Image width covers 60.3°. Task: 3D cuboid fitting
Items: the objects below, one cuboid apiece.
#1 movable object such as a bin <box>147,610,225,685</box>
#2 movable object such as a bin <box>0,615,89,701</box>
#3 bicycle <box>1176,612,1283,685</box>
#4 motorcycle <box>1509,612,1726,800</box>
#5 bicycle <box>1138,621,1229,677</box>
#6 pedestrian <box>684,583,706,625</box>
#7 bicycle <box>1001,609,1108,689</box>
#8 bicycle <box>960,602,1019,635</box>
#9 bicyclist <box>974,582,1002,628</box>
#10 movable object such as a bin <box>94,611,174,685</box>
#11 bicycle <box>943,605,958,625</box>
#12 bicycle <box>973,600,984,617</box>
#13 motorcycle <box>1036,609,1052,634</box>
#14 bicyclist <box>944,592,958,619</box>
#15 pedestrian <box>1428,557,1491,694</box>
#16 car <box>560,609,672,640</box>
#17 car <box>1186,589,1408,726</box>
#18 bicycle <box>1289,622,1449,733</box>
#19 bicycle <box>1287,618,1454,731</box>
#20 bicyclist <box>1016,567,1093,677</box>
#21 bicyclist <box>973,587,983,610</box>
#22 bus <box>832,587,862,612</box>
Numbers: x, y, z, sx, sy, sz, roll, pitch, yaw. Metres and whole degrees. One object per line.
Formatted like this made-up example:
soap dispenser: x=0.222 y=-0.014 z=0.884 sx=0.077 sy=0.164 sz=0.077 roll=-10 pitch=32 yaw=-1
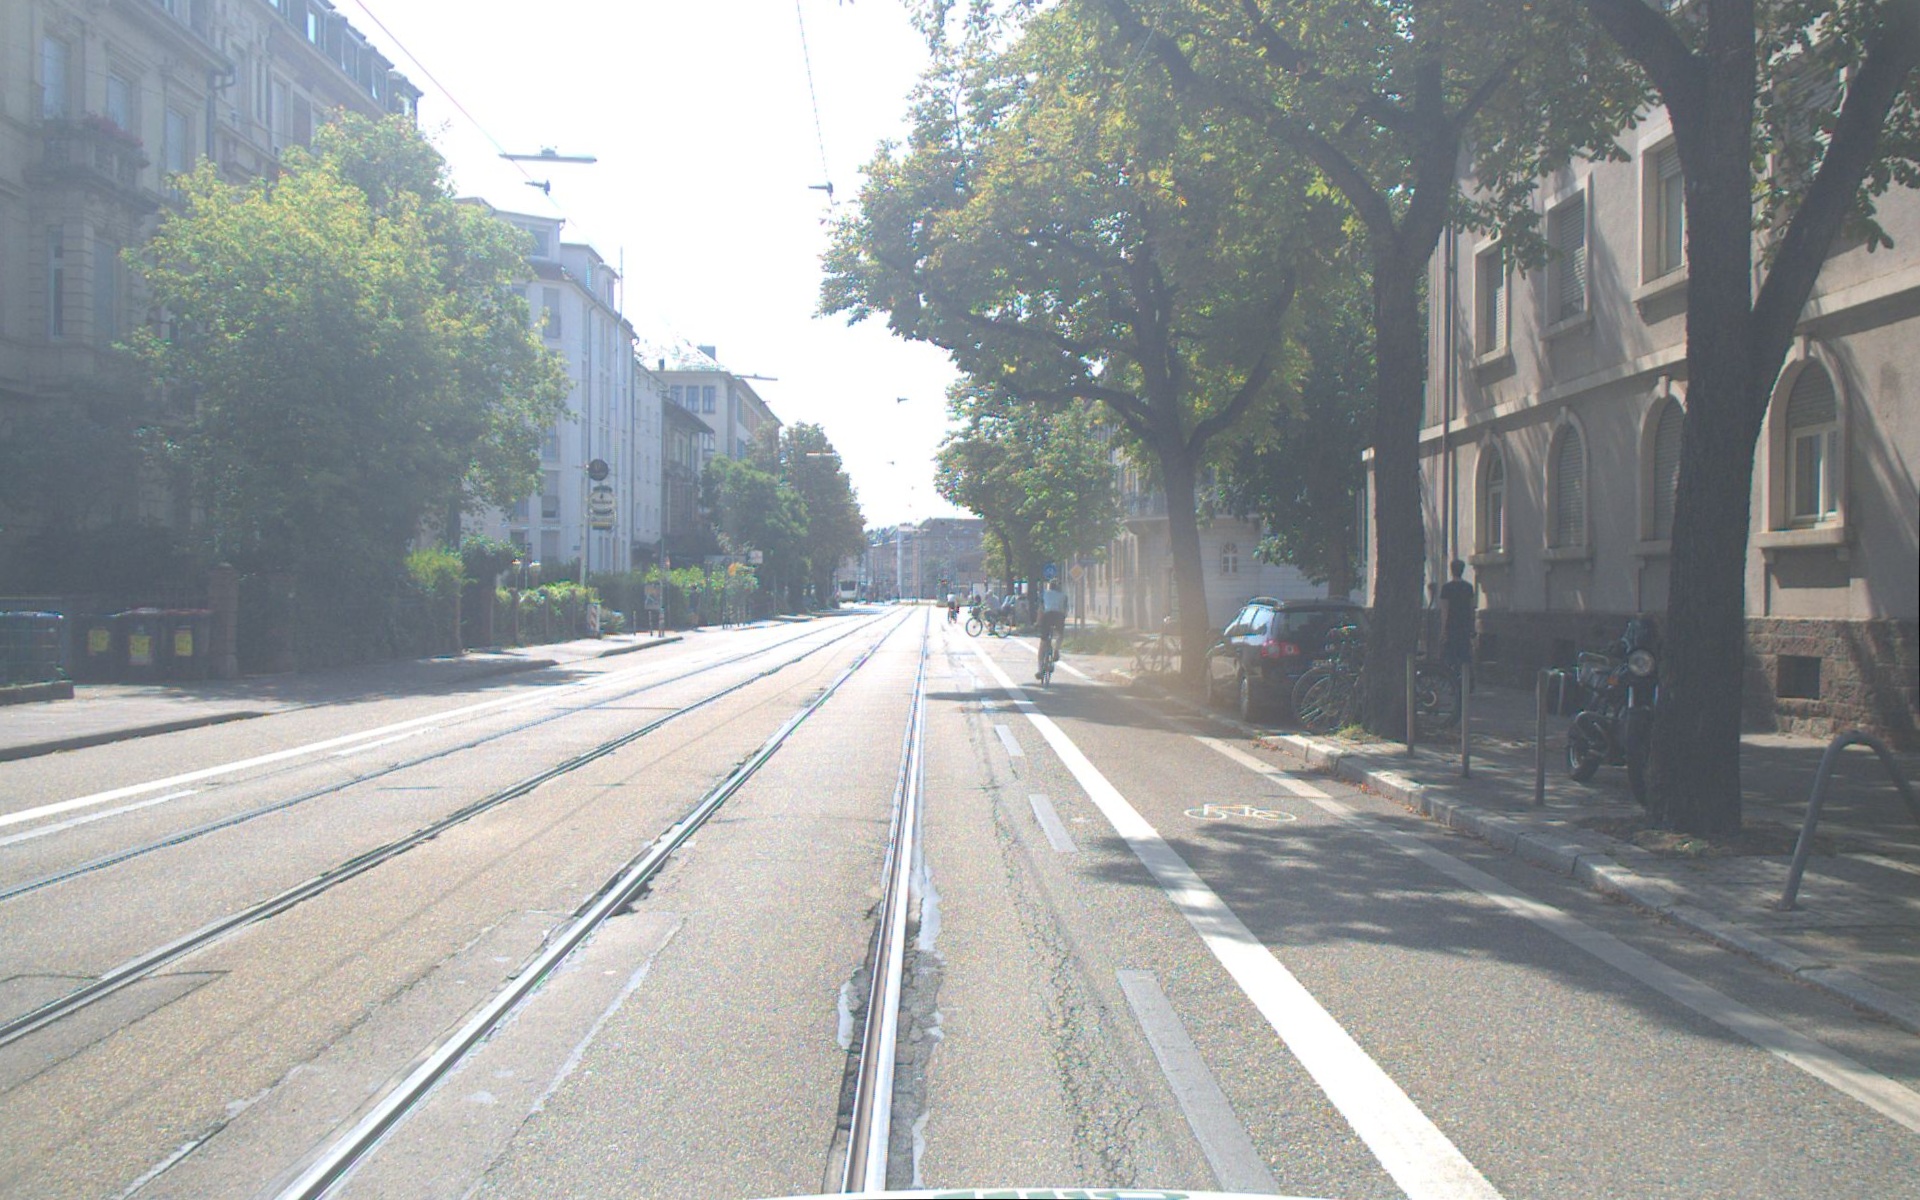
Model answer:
movable object such as a bin: x=-11.828 y=0.717 z=25.307 sx=0.770 sy=1.094 sz=0.803 roll=1 pitch=0 yaw=2
movable object such as a bin: x=-12.081 y=0.760 z=21.827 sx=0.771 sy=1.094 sz=0.754 roll=1 pitch=0 yaw=-3
bicycle: x=4.347 y=0.782 z=26.772 sx=1.686 sy=1.156 sz=0.377 roll=0 pitch=0 yaw=5
motorcycle: x=4.920 y=0.741 z=12.552 sx=0.696 sy=1.277 sz=2.176 roll=1 pitch=0 yaw=-3
bicycle: x=4.273 y=0.937 z=31.668 sx=1.678 sy=1.050 sz=0.566 roll=0 pitch=0 yaw=-1
pedestrian: x=-11.305 y=0.162 z=70.602 sx=0.764 sy=1.787 sz=1.040 roll=0 pitch=-1 yaw=-1
bicycle: x=1.670 y=0.813 z=28.695 sx=1.124 sy=1.291 sz=2.713 roll=0 pitch=0 yaw=20
bicycle: x=1.067 y=0.668 z=60.395 sx=1.993 sy=1.171 sz=0.785 roll=0 pitch=0 yaw=22
bicyclist: x=1.024 y=0.168 z=60.417 sx=0.807 sy=1.671 sz=0.785 roll=0 pitch=0 yaw=23
movable object such as a bin: x=-12.605 y=0.727 z=25.264 sx=0.770 sy=1.094 sz=0.803 roll=1 pitch=0 yaw=2
bicycle: x=-0.484 y=0.801 z=88.736 sx=0.743 sy=1.008 sz=2.298 roll=0 pitch=0 yaw=1
bicycle: x=1.035 y=0.480 z=93.662 sx=0.576 sy=0.955 sz=2.172 roll=0 pitch=0 yaw=1
motorcycle: x=3.719 y=0.932 z=73.582 sx=0.537 sy=1.086 sz=2.330 roll=0 pitch=0 yaw=-1
bicyclist: x=-0.478 y=0.308 z=88.690 sx=0.743 sy=1.416 sz=0.779 roll=0 pitch=-1 yaw=1
pedestrian: x=7.157 y=0.364 z=23.708 sx=0.692 sy=1.925 sz=0.714 roll=0 pitch=-1 yaw=0
car: x=-14.332 y=1.012 z=69.008 sx=4.141 sy=1.205 sz=2.001 roll=-1 pitch=-1 yaw=19
car: x=4.275 y=0.669 z=21.758 sx=1.803 sy=1.559 sz=4.778 roll=-1 pitch=0 yaw=-2
bicycle: x=4.257 y=0.802 z=17.267 sx=1.572 sy=1.123 sz=0.399 roll=0 pitch=0 yaw=5
bicycle: x=4.364 y=0.784 z=17.654 sx=1.686 sy=1.169 sz=0.377 roll=0 pitch=0 yaw=5
bicyclist: x=1.651 y=0.372 z=28.667 sx=1.102 sy=1.869 sz=0.956 roll=0 pitch=-1 yaw=21
bicyclist: x=1.032 y=-0.071 z=93.606 sx=0.567 sy=1.301 sz=0.471 roll=0 pitch=-1 yaw=1
bus: x=-16.260 y=-0.042 z=238.961 sx=3.659 sy=3.423 sz=15.113 roll=0 pitch=0 yaw=-2
